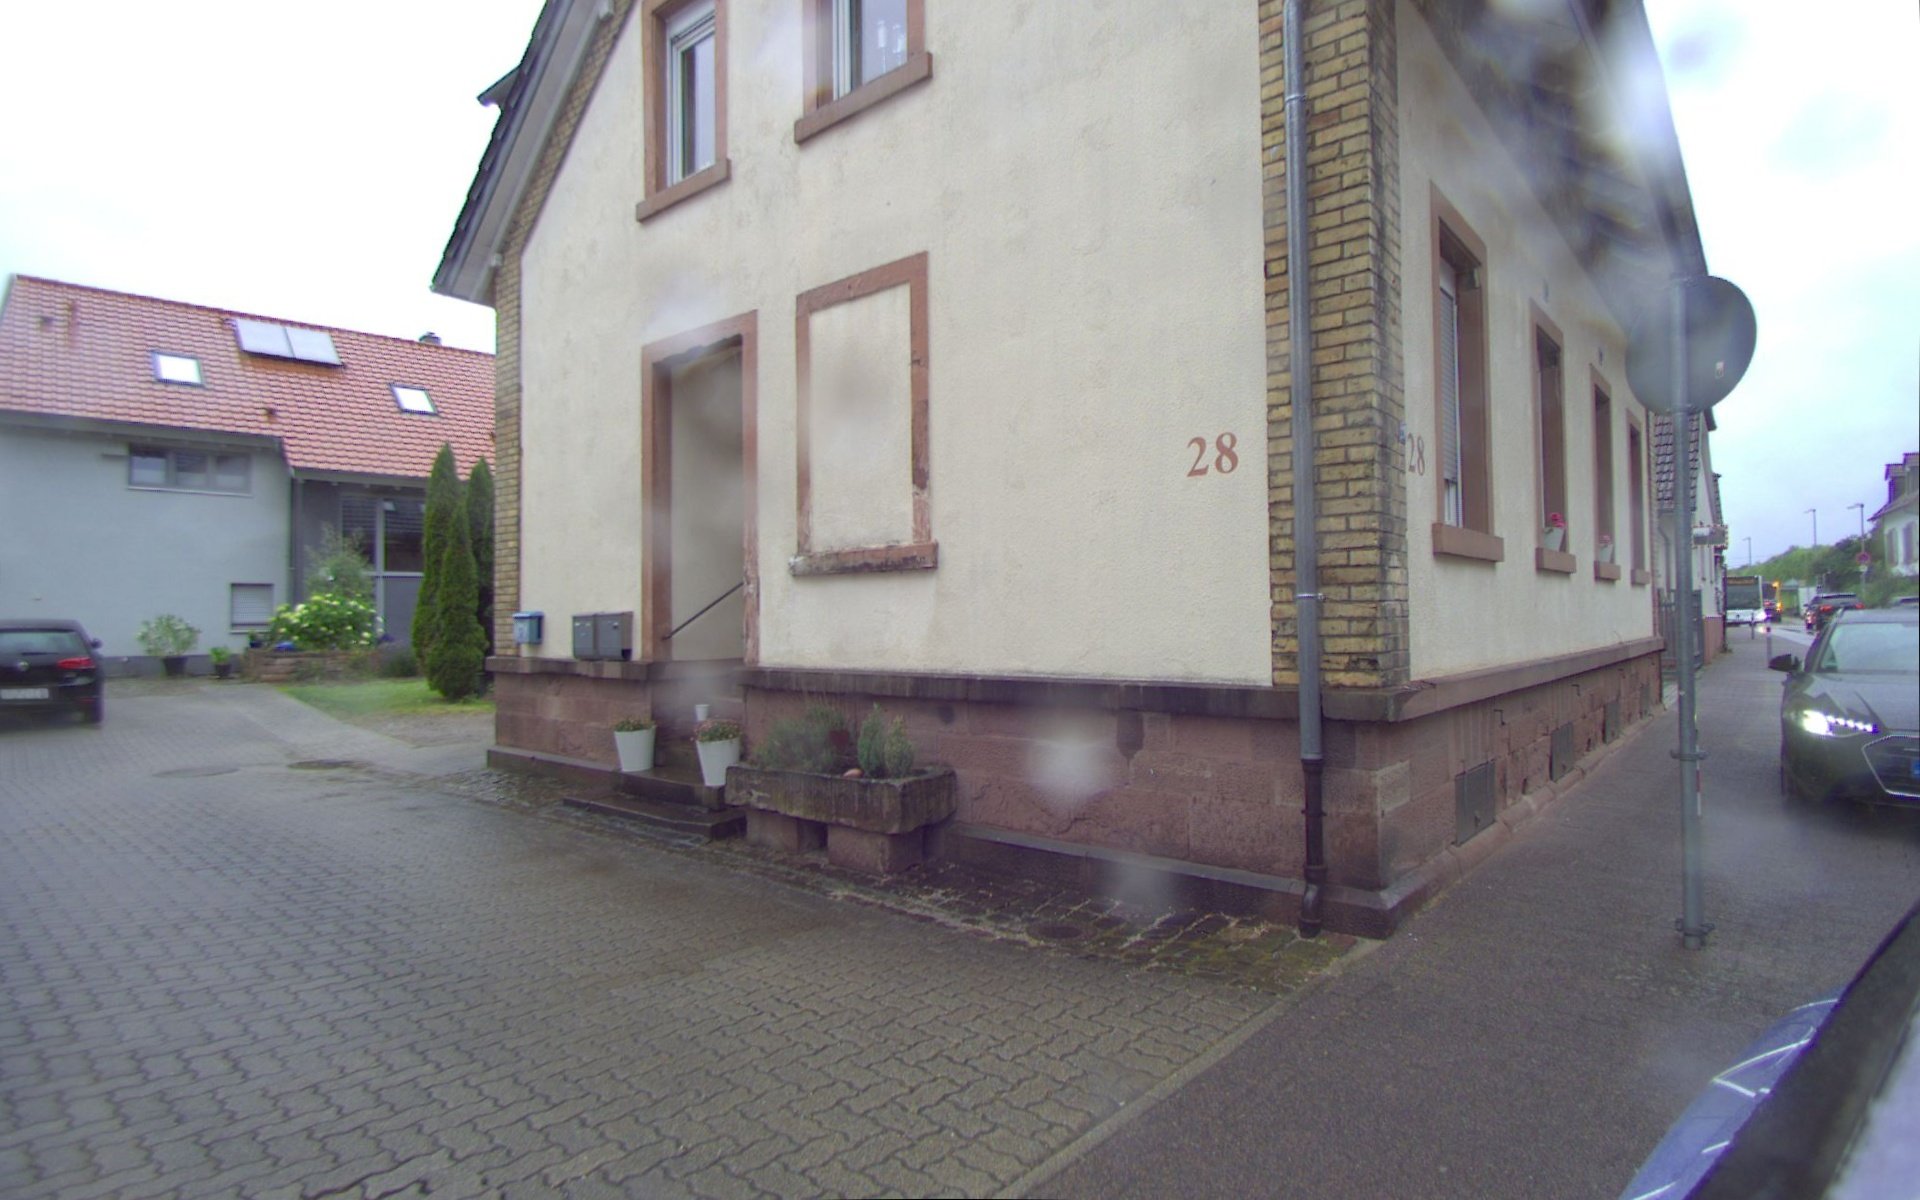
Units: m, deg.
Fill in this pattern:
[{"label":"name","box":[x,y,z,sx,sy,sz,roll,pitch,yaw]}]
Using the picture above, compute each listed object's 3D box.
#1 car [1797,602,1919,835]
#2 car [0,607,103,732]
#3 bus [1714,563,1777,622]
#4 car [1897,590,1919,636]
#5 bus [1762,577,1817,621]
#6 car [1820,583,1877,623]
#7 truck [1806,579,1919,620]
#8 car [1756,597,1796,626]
[{"label":"car","box":[7.374,0.726,7.526,1.732,1.388,4.044,0,0,39]},{"label":"car","box":[-13.937,0.943,15.105,1.655,1.491,3.993,0,2,-42]},{"label":"bus","box":[47.749,-0.489,61.723,2.654,3.273,12.032,0,0,36]},{"label":"car","box":[34.202,0.391,35.539,1.620,1.531,3.737,-5,-3,41]},{"label":"bus","box":[65.558,-0.159,80.165,2.654,3.273,12.032,0,0,36]},{"label":"car","box":[40.881,0.117,46.622,1.777,1.686,4.363,-3,-1,40]},{"label":"truck","box":[57.396,-0.015,64.218,5.547,2.536,1.998,0,0,3]},{"label":"car","box":[58.679,0.790,72.787,1.987,2.039,3.949,0,0,36]}]
